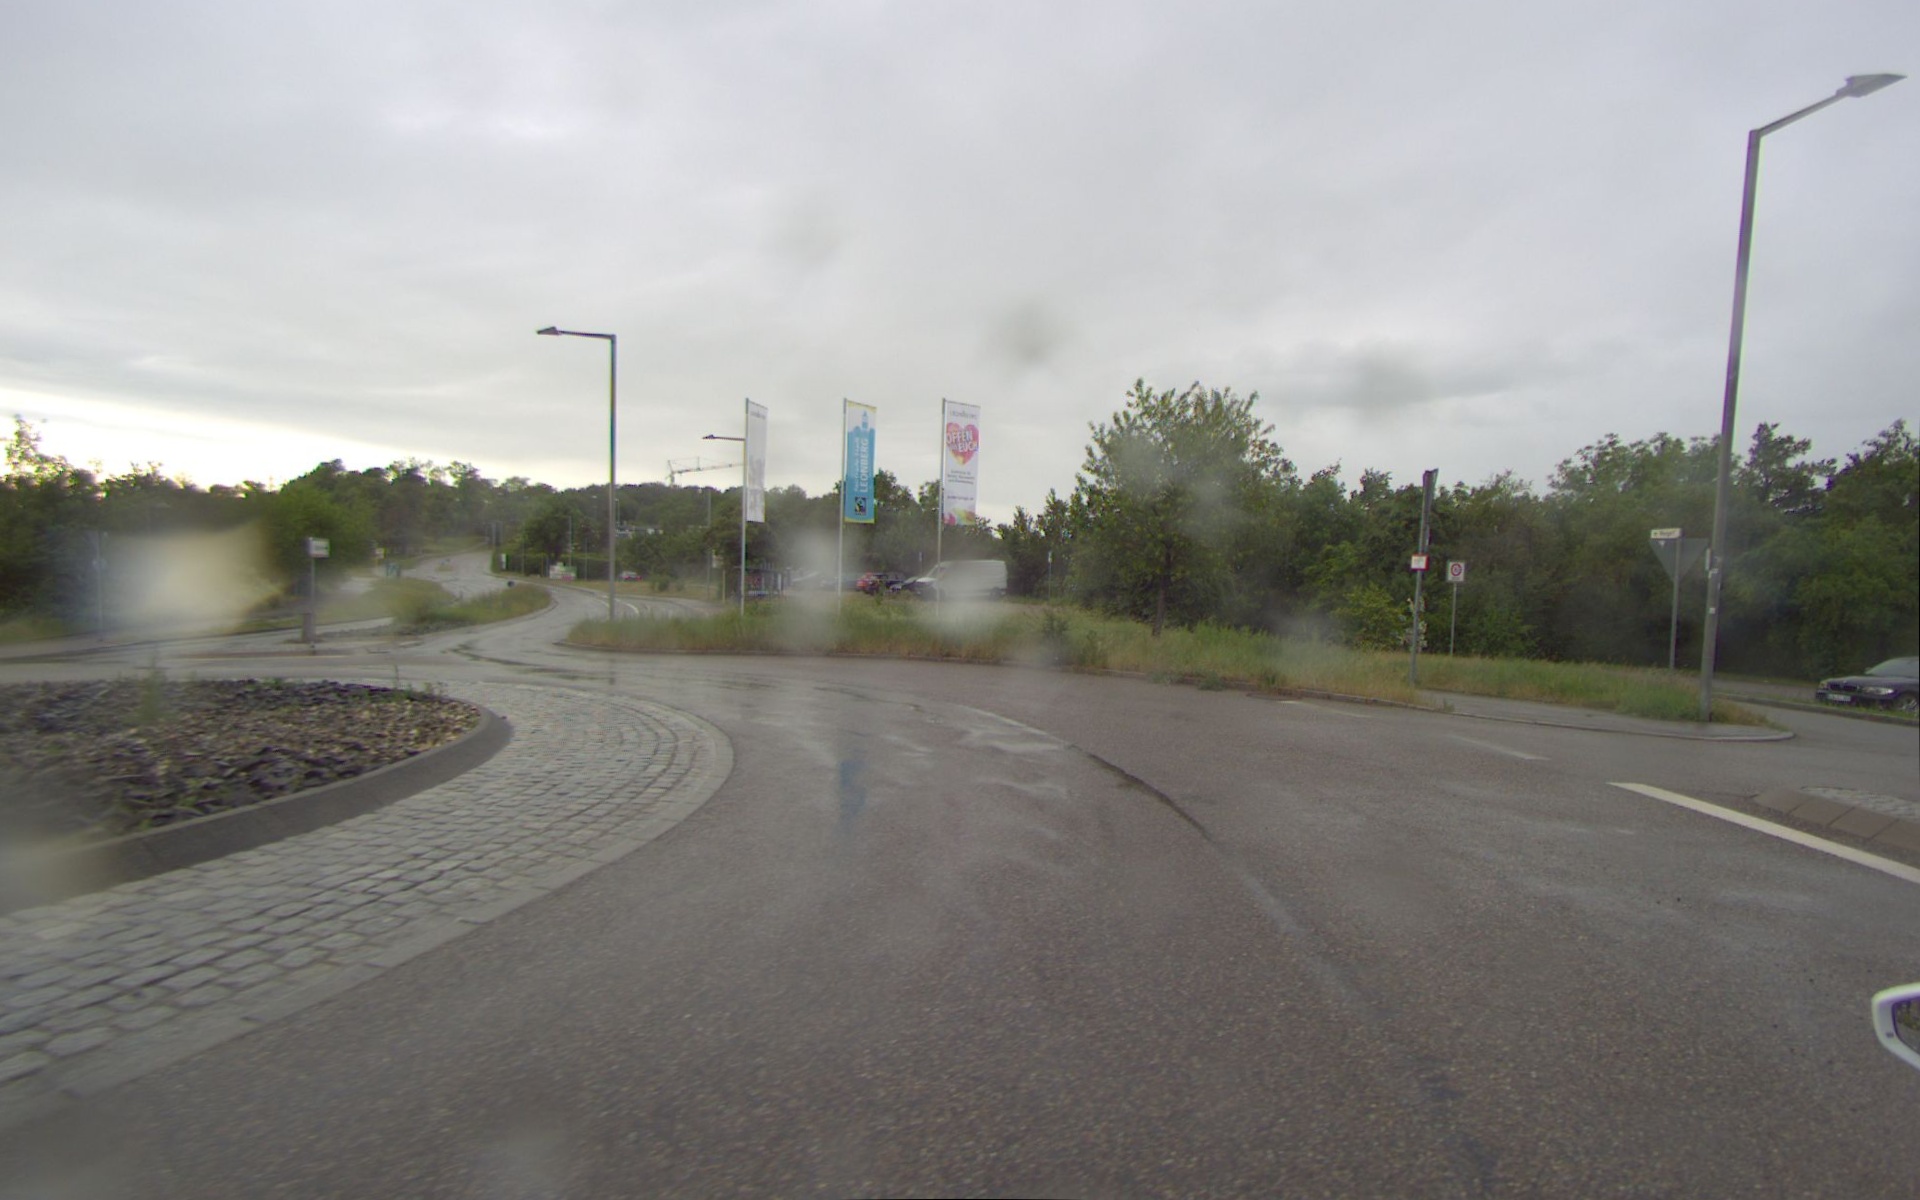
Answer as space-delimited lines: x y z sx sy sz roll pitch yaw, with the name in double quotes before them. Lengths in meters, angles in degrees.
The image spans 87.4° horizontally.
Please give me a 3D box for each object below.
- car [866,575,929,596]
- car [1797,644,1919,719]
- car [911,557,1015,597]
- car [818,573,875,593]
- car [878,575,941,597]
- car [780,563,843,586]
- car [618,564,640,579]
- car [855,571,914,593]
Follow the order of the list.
"car" -4.360 -1.024 69.913 3.947 1.382 1.835 0 2 -26
"car" 20.805 1.853 21.811 4.114 1.373 1.623 5 1 -8
"car" 0.223 -1.502 63.501 6.501 2.430 2.121 -2 4 -31
"car" -8.718 -1.333 77.043 3.946 1.382 1.887 -3 3 -26
"car" -3.415 -0.948 67.848 3.947 1.382 1.642 -1 3 -26
"car" -12.196 -2.097 82.496 4.663 1.716 1.990 1 1 -28
"car" -38.564 -3.292 116.981 1.675 1.589 4.508 -3 2 -28
"car" -5.486 -1.311 73.046 3.949 1.489 1.834 0 2 -28
